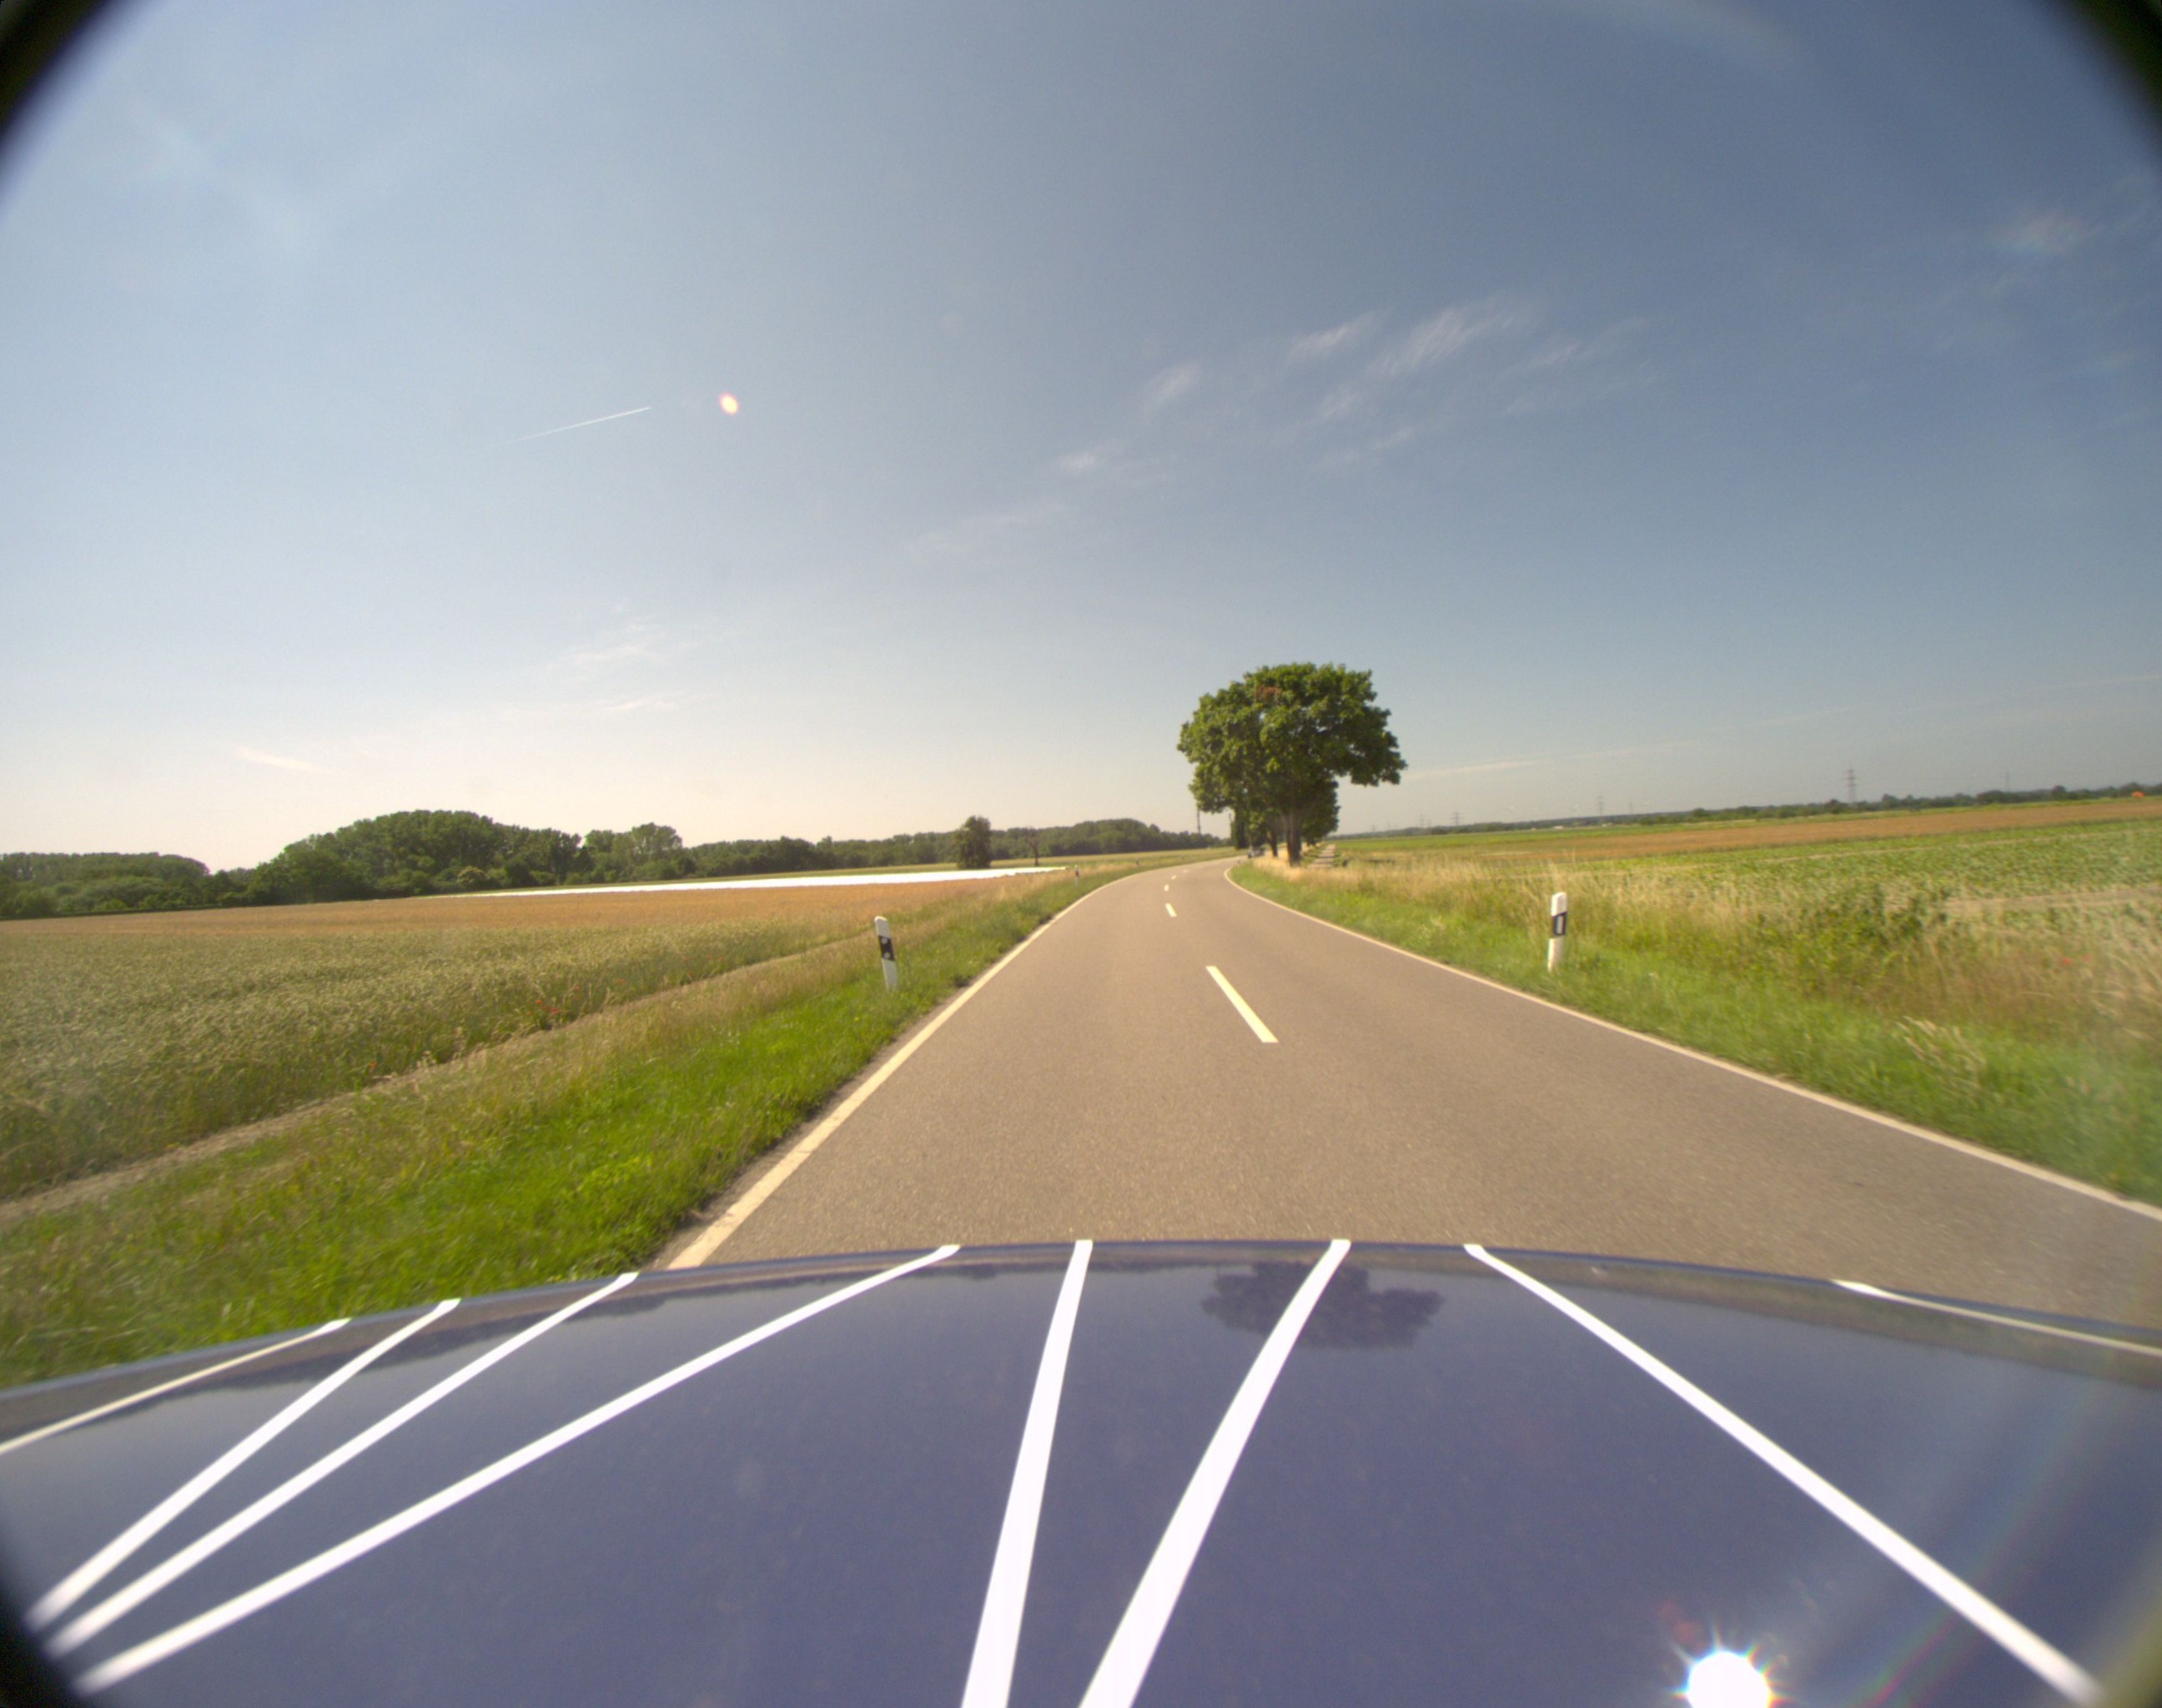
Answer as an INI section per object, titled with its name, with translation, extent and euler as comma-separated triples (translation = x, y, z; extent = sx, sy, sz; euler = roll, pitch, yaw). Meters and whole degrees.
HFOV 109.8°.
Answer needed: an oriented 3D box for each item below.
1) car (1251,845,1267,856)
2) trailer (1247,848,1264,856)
[car]
translation = 24.072, -0.534, 102.713
extent = 1.645, 1.421, 4.186
euler = 0, 1, 20
[trailer]
translation = 22.648, -0.266, 98.762
extent = 1.624, 1.059, 4.124
euler = 0, 1, 20
